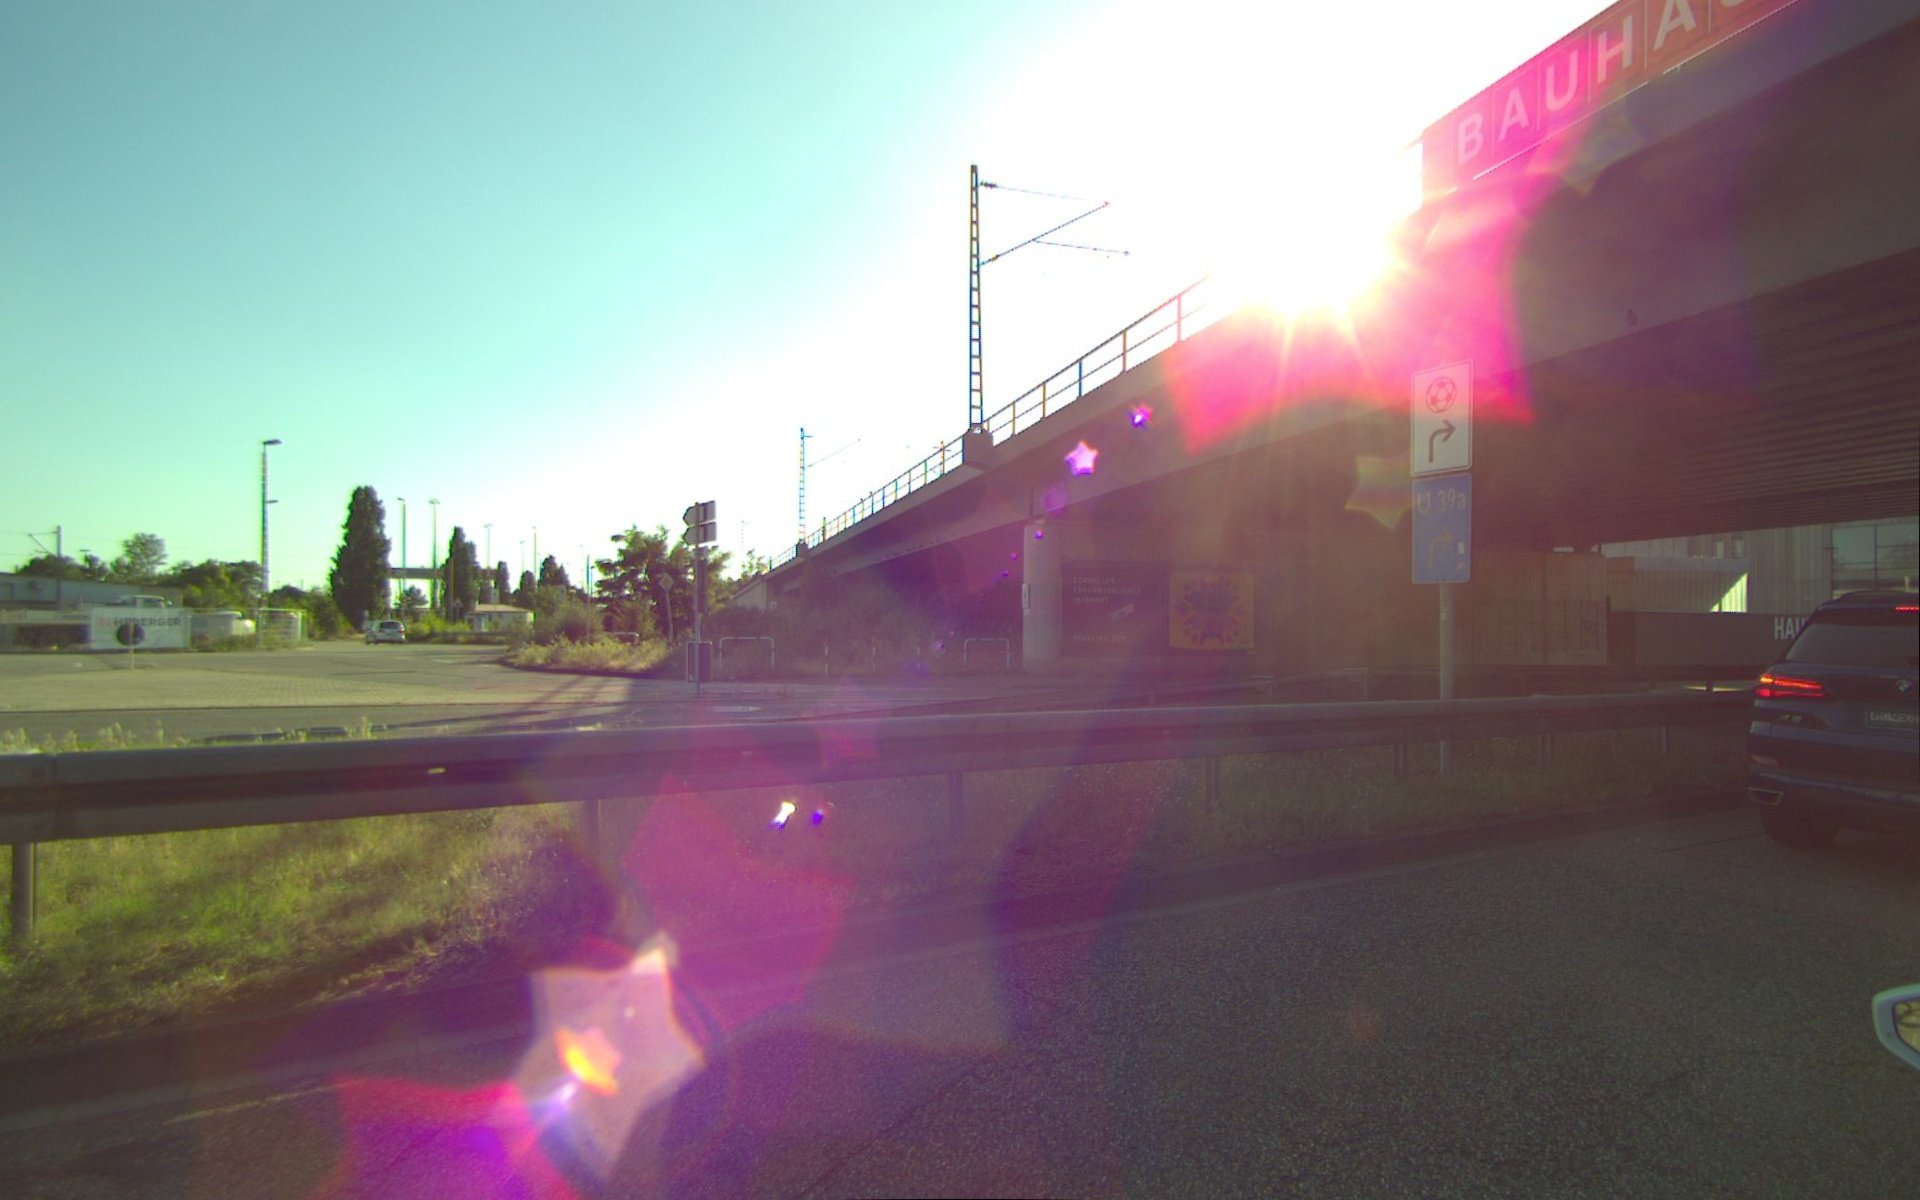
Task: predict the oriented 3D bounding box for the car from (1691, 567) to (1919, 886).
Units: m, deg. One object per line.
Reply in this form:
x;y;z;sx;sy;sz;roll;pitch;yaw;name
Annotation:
7.244;0.761;6.698;4.473;1.757;1.987;2;0;-27;car

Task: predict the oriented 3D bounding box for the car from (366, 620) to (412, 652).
-39.455;2.449;69.352;1.985;2.040;3.951;2;0;-42;car
